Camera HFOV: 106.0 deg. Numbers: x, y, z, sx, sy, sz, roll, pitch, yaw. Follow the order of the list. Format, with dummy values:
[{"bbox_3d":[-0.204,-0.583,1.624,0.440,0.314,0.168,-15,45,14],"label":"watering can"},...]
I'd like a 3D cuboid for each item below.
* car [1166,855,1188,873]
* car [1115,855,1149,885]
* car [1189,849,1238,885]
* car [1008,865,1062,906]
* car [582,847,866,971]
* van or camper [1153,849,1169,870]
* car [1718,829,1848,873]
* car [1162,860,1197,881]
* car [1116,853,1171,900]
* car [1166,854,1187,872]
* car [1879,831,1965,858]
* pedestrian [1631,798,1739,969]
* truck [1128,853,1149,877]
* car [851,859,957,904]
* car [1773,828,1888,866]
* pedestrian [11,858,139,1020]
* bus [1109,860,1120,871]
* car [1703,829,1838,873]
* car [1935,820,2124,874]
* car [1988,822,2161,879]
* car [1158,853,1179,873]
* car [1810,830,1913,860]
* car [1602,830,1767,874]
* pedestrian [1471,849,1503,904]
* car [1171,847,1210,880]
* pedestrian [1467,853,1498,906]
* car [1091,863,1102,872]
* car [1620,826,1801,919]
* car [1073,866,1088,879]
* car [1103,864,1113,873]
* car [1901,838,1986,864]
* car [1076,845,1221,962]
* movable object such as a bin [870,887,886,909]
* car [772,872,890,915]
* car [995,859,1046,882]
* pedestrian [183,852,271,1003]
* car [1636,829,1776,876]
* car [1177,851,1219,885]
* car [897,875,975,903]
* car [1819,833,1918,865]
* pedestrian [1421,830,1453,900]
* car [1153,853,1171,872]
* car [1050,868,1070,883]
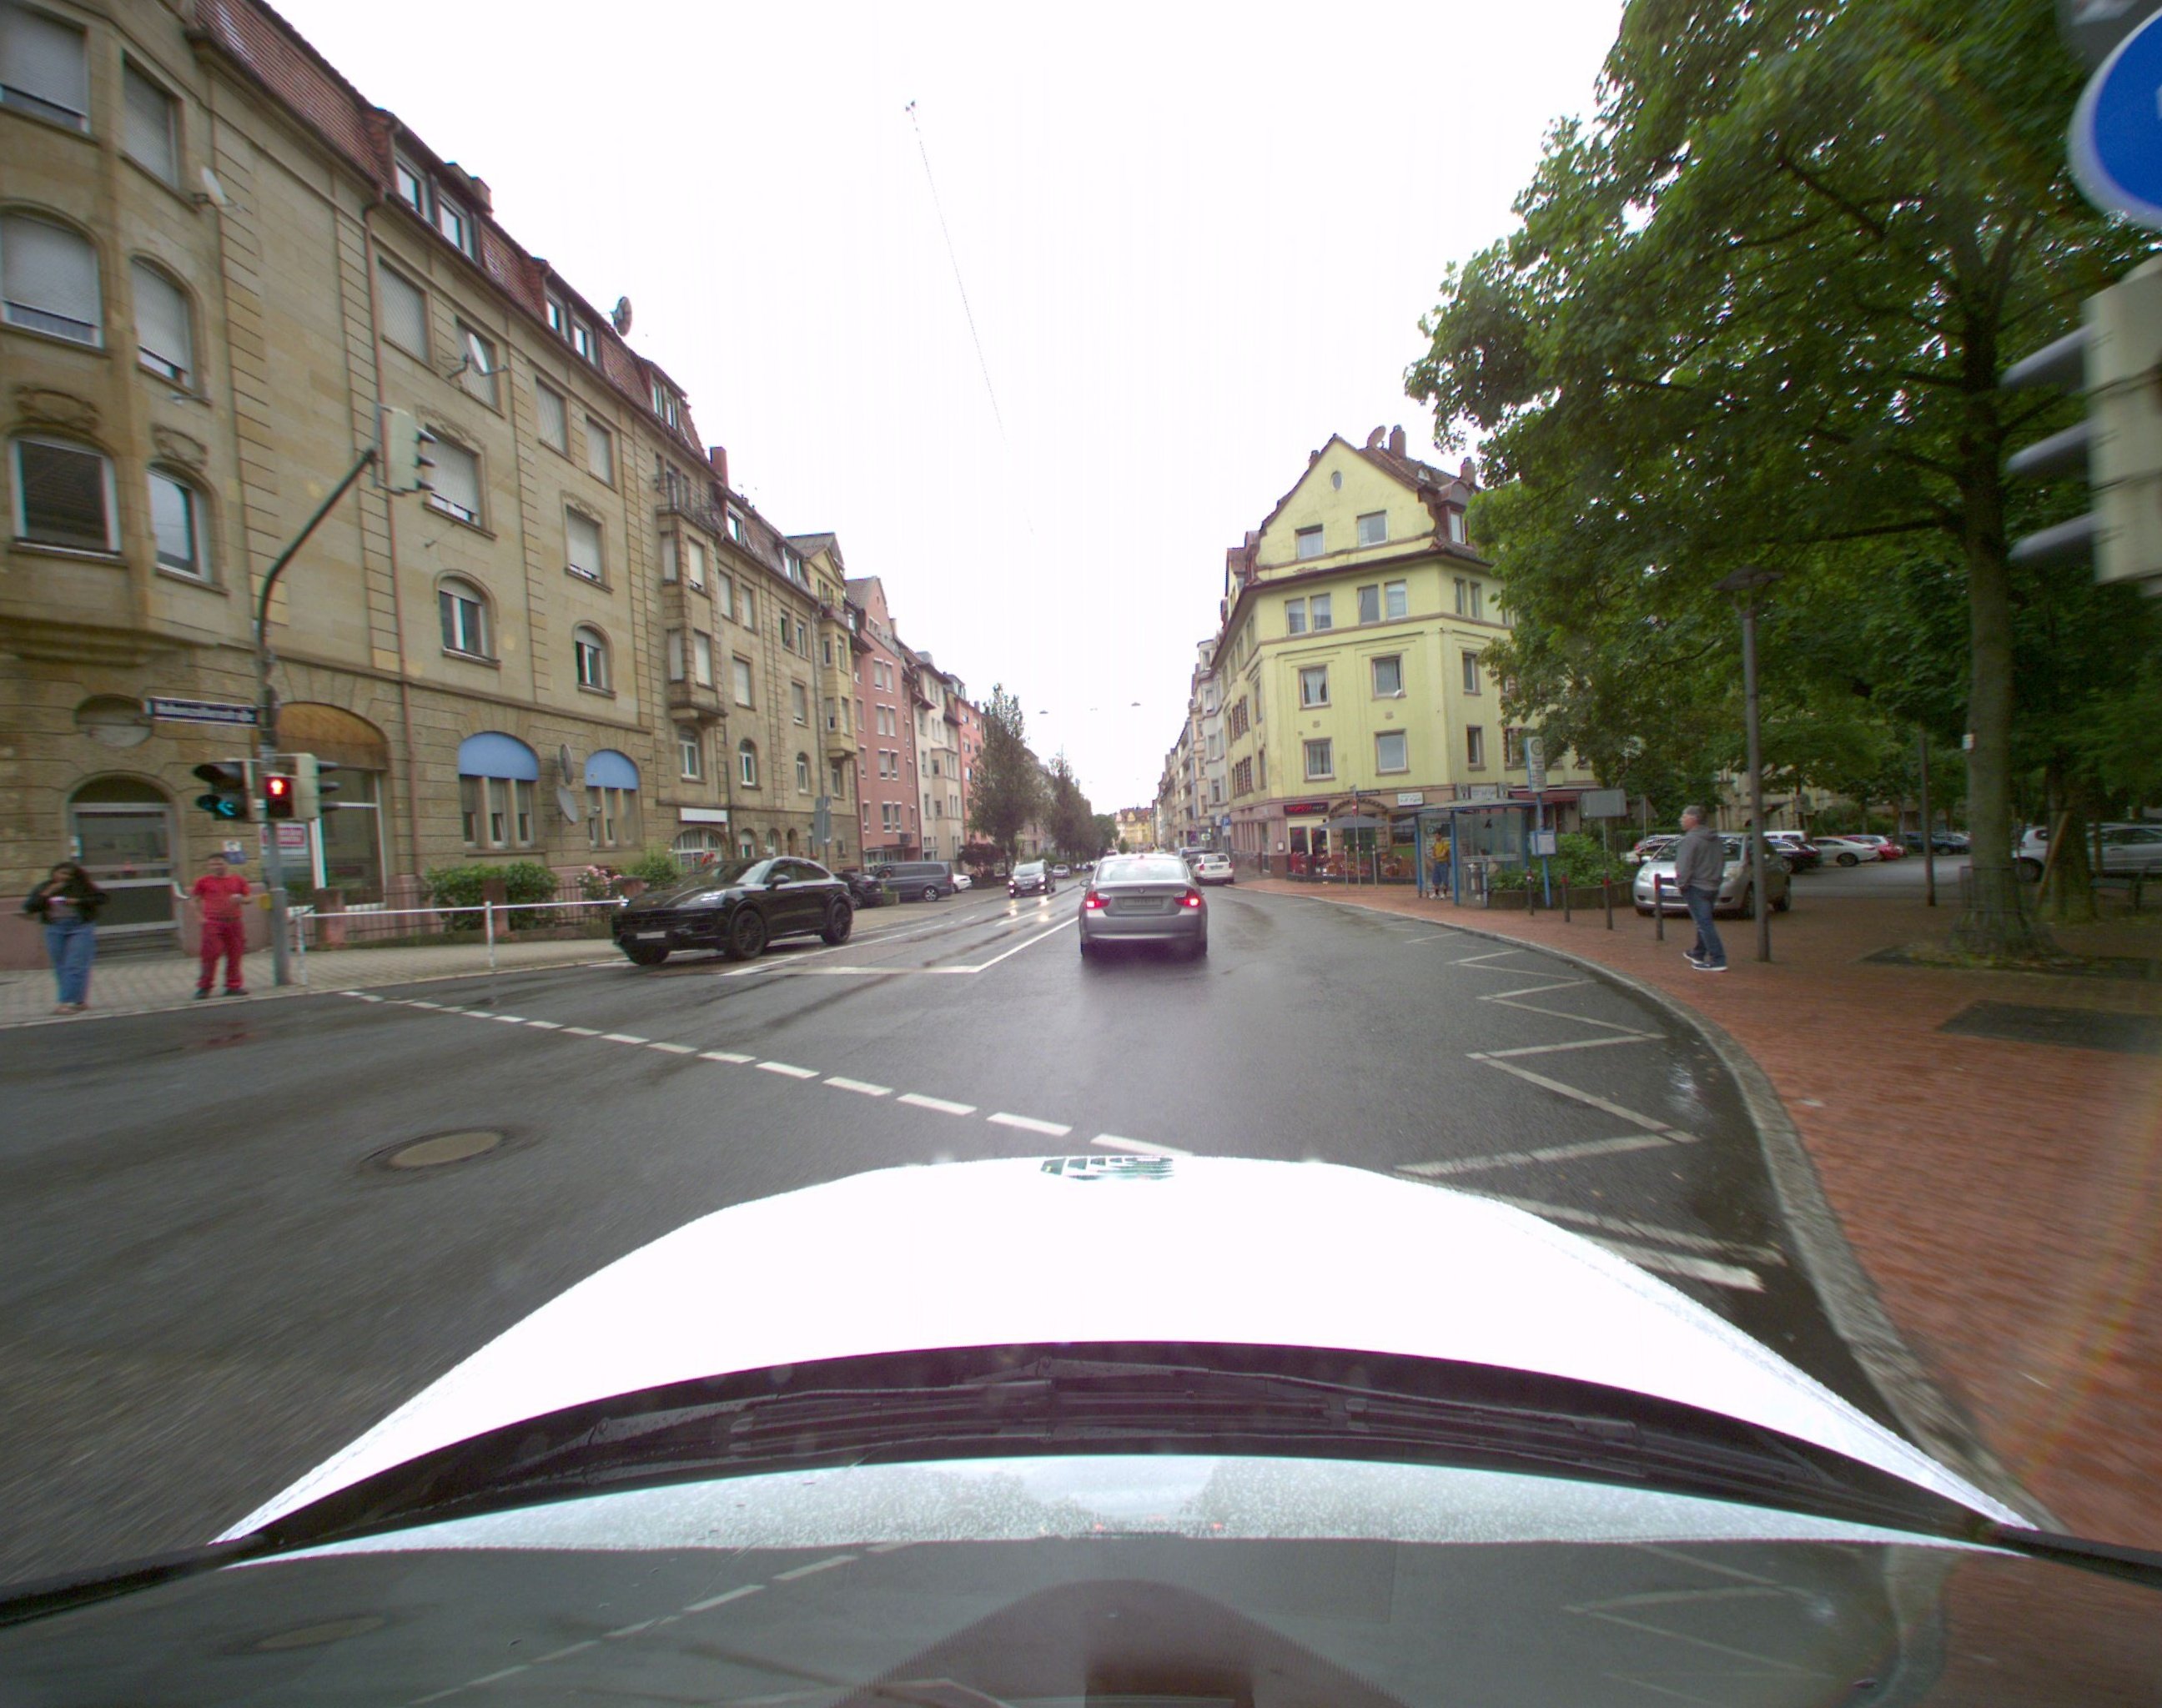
[{"bbox_3d":[8.161,0.864,69.381,1.604,1.475,4.019,-2,-1,4],"label":"car"},{"bbox_3d":[2.804,0.884,44.367,1.690,1.483,3.797,-2,-1,4],"label":"car"},{"bbox_3d":[6.331,0.640,39.295,1.791,1.565,4.495,-2,-1,3],"label":"car"},{"bbox_3d":[-2.085,1.410,38.322,1.612,1.649,4.428,-6,-1,7],"label":"car"},{"bbox_3d":[-5.732,0.853,13.925,1.952,1.693,4.823,-3,-2,12],"label":"car"},{"bbox_3d":[11.260,0.776,114.232,2.022,2.869,6.899,-1,-1,7],"label":"van or camper"},{"bbox_3d":[30.482,-0.089,35.460,1.800,1.789,3.956,-1,-1,-36],"label":"car"},{"bbox_3d":[7.519,1.292,62.402,1.871,1.467,4.770,-2,-1,-2],"label":"car"},{"bbox_3d":[2.139,0.743,27.584,1.674,1.428,3.745,-2,-1,5],"label":"car"},{"bbox_3d":[9.638,0.909,82.319,1.719,1.670,4.292,-5,-1,4],"label":"car"},{"bbox_3d":[57.681,-0.643,55.908,1.800,1.748,3.855,-1,-1,-36],"label":"car"},{"bbox_3d":[6.463,0.301,8.724,0.575,1.734,0.724,-1,-1,-30],"label":"pedestrian"},{"bbox_3d":[6.159,1.239,87.556,2.023,2.413,4.830,-2,-1,3],"label":"truck"},{"bbox_3d":[-8.283,1.267,38.416,4.669,1.939,1.859,-1,-1,-6],"label":"car"},{"bbox_3d":[36.754,-0.313,40.017,1.800,1.748,3.855,-1,-1,-36],"label":"car"},{"bbox_3d":[-11.238,0.904,9.127,0.631,1.702,0.834,-2,-1,45],"label":"pedestrian"},{"bbox_3d":[10.116,3.374,245.240,2.657,3.024,7.677,-4,-1,4],"label":"bus"},{"bbox_3d":[28.484,-0.095,33.750,1.800,1.727,3.956,-1,-1,-36],"label":"car"},{"bbox_3d":[27.615,-0.169,23.800,1.597,1.465,3.462,-1,-1,-36],"label":"car"},{"bbox_3d":[26.682,-0.081,20.954,1.715,1.396,4.287,-1,-1,-36],"label":"car"},{"bbox_3d":[9.530,0.963,89.037,1.973,2.007,4.629,-4,-1,4],"label":"car"},{"bbox_3d":[43.559,-0.486,45.512,1.740,1.589,3.855,-1,-1,-36],"label":"car"},{"bbox_3d":[22.385,-0.035,30.385,1.800,1.528,4.597,-1,-1,-36],"label":"car"},{"bbox_3d":[9.604,0.521,19.267,0.565,1.280,0.536,-1,-1,15],"label":"pedestrian"},{"bbox_3d":[6.765,0.580,50.725,1.911,1.827,5.014,-4,-1,4],"label":"car"},{"bbox_3d":[9.796,0.611,19.881,0.565,1.280,0.621,-1,-1,16],"label":"pedestrian"},{"bbox_3d":[2.986,2.678,158.221,1.683,1.523,3.741,-5,-1,5],"label":"car"},{"bbox_3d":[11.674,0.313,15.039,3.691,1.502,1.751,1,0,-37],"label":"car"},{"bbox_3d":[-0.028,2.660,116.527,1.760,1.594,4.002,-5,-1,2],"label":"car"},{"bbox_3d":[5.185,2.737,154.924,1.629,1.508,3.758,-6,-1,4],"label":"car"},{"bbox_3d":[60.386,-0.174,57.089,1.800,1.748,3.855,-1,-1,-36],"label":"car"},{"bbox_3d":[0.834,0.629,12.132,1.764,1.428,3.739,-2,0,-1],"label":"car"},{"bbox_3d":[-8.677,1.882,34.876,0.502,0.950,0.442,-2,-1,9],"label":"movable object such as a bin"},{"bbox_3d":[-10.125,1.595,33.140,4.129,1.510,1.875,-3,-1,3],"label":"car"},{"bbox_3d":[-6.135,1.684,82.869,4.808,1.974,2.050,-4,-1,3],"label":"car"},{"bbox_3d":[-10.510,0.870,10.047,0.697,1.774,0.518,-1,-1,-42],"label":"pedestrian"},{"bbox_3d":[24.314,-0.031,31.784,1.800,1.727,3.956,-1,-1,-36],"label":"car"},{"bbox_3d":[6.401,0.753,44.839,1.870,1.731,4.681,-2,-1,4],"label":"car"},{"bbox_3d":[-9.170,2.197,51.703,4.529,1.401,1.769,-4,-1,3],"label":"car"},{"bbox_3d":[45.557,-0.248,47.193,1.800,1.748,3.855,-1,-1,-36],"label":"car"},{"bbox_3d":[9.243,0.286,21.121,0.548,1.775,0.553,-1,-1,-44],"label":"pedestrian"},{"bbox_3d":[10.342,1.064,103.799,1.973,2.166,4.754,-4,-1,4],"label":"car"},{"bbox_3d":[-2.229,2.326,87.601,1.718,1.484,3.993,-1,-1,5],"label":"car"}]
